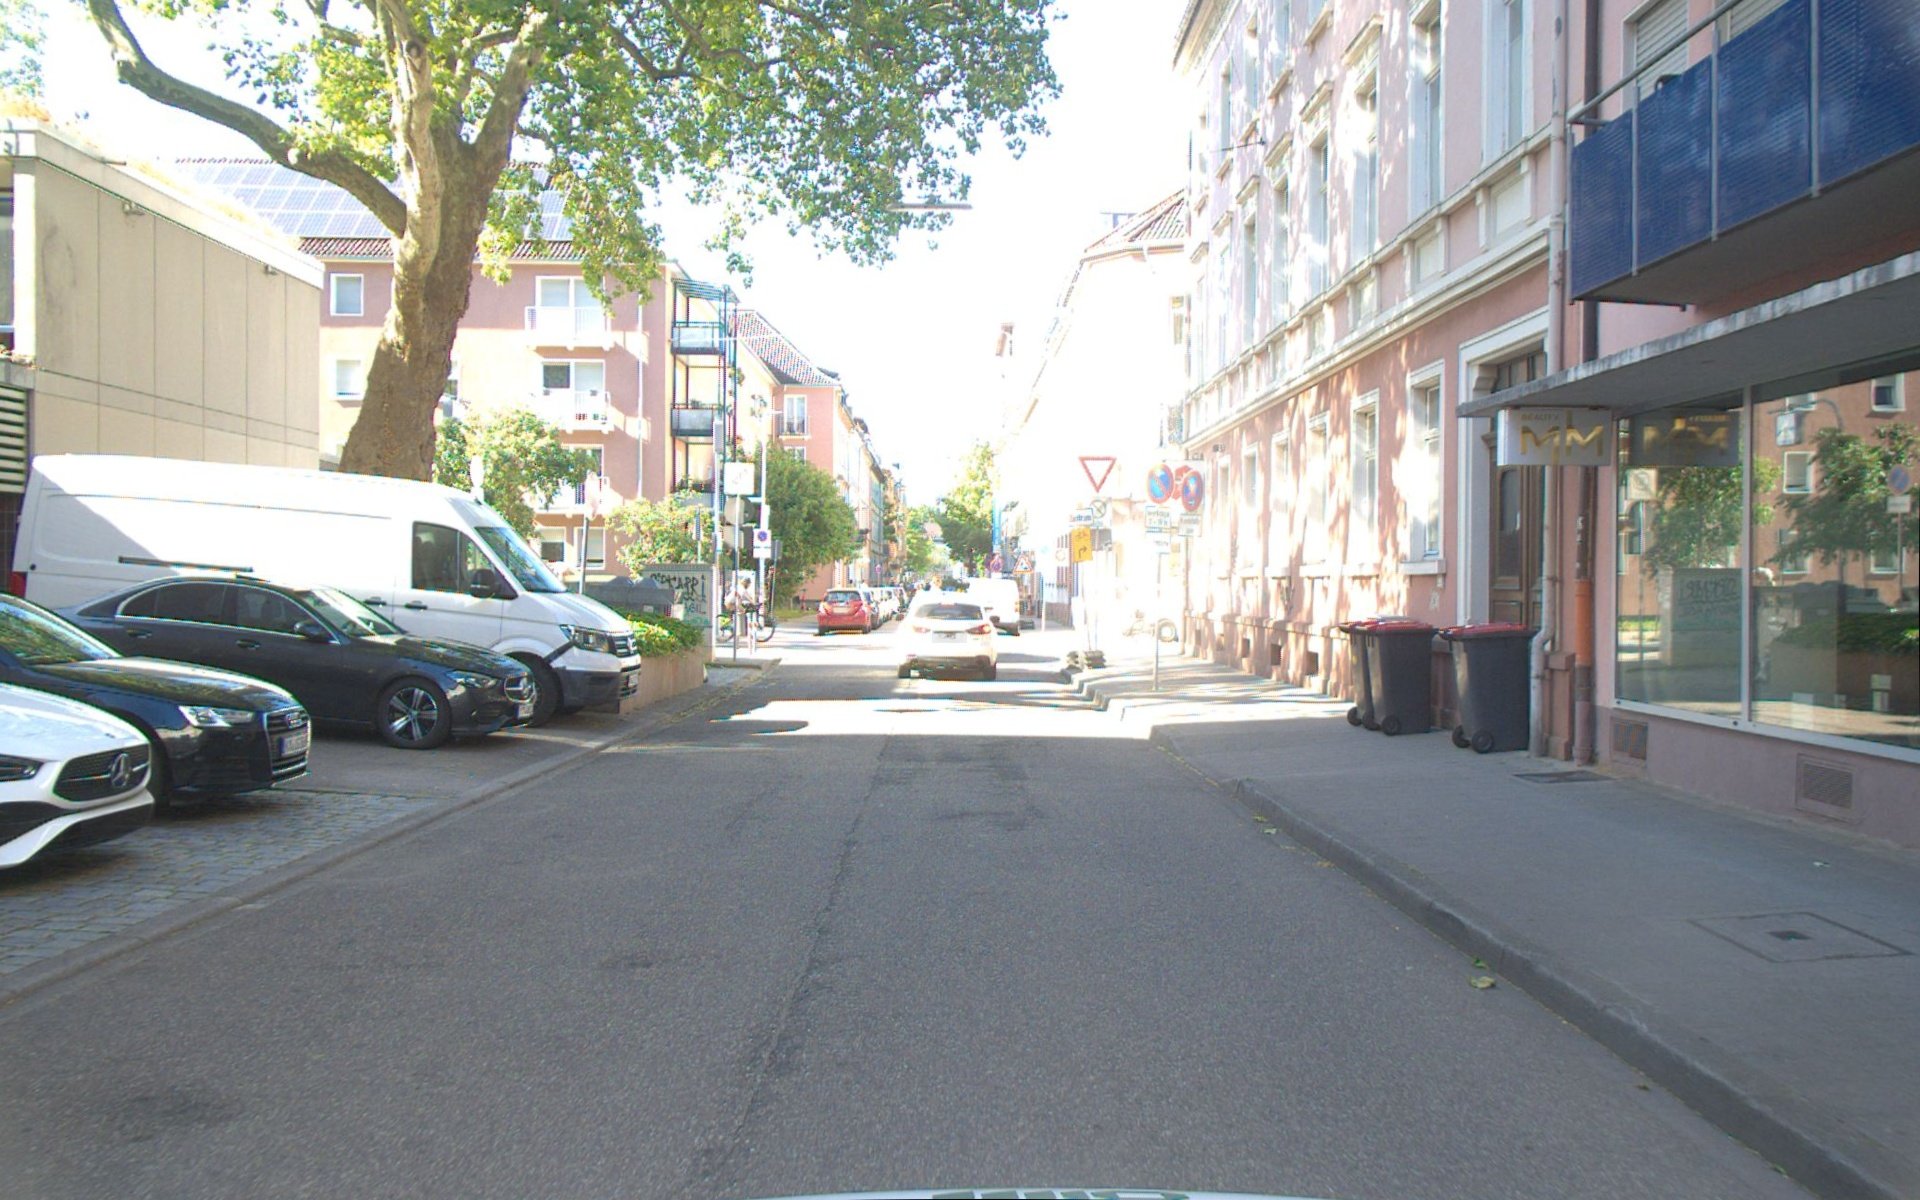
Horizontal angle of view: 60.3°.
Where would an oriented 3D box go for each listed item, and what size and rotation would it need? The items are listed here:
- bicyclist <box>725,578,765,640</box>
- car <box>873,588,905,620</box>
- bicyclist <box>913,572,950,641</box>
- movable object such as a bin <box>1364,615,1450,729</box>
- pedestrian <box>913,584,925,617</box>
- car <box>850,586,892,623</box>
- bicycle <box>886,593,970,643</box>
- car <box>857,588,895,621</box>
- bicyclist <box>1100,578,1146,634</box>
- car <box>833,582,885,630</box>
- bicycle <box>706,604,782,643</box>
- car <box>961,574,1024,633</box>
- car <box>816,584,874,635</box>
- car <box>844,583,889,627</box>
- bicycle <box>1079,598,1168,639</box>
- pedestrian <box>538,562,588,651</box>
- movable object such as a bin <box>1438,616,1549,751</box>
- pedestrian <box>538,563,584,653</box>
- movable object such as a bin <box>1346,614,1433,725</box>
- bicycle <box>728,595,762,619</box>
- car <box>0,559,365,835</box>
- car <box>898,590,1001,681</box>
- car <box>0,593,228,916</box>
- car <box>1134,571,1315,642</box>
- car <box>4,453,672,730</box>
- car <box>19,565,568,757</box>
[{"bbox_3d":[-5.544,0.220,42.690,0.963,1.580,0.761,0,0,-2],"label":"bicyclist"},{"bbox_3d":[-3.732,0.214,87.705,1.540,1.613,3.611,0,0,0],"label":"car"},{"bbox_3d":[-0.725,0.172,42.705,0.905,1.750,0.942,0,0,1],"label":"bicyclist"},{"bbox_3d":[4.371,0.699,16.216,0.687,1.092,0.596,0,0,1],"label":"movable object such as a bin"},{"bbox_3d":[-2.310,0.017,92.980,0.634,1.828,0.639,0,-1,0],"label":"pedestrian"},{"bbox_3d":[-3.924,0.187,73.382,1.685,1.604,3.726,0,0,0],"label":"car"},{"bbox_3d":[-0.809,0.456,42.664,2.118,1.277,0.834,0,0,1],"label":"bicycle"},{"bbox_3d":[-3.926,0.200,77.394,1.569,1.503,3.567,0,0,0],"label":"car"},{"bbox_3d":[4.520,0.173,45.693,1.170,1.543,0.841,0,0,12],"label":"bicyclist"},{"bbox_3d":[-3.687,0.220,61.085,1.685,1.712,3.726,0,0,0],"label":"car"},{"bbox_3d":[-5.559,0.599,42.691,1.889,1.003,0.663,0,0,-4],"label":"bicycle"},{"bbox_3d":[1.119,0.110,58.765,1.904,1.982,4.076,1,0,-3],"label":"car"},{"bbox_3d":[-3.819,0.295,55.485,1.734,1.616,3.725,0,1,-1],"label":"car"},{"bbox_3d":[-3.742,0.204,66.599,1.602,1.685,3.785,0,0,0],"label":"car"},{"bbox_3d":[4.530,0.513,45.705,2.373,1.098,0.791,0,0,13],"label":"bicycle"},{"bbox_3d":[-8.537,0.141,35.571,0.950,1.871,0.679,3,0,-15],"label":"pedestrian"},{"bbox_3d":[4.593,0.704,14.274,0.715,1.123,0.692,0,0,-3],"label":"movable object such as a bin"},{"bbox_3d":[-8.359,0.169,34.658,0.839,1.847,0.812,2,-1,-14],"label":"pedestrian"},{"bbox_3d":[4.366,0.694,16.848,0.730,1.105,0.635,0,0,1],"label":"movable object such as a bin"},{"bbox_3d":[-8.663,0.295,66.709,0.598,0.948,1.893,0,0,-33],"label":"bicycle"},{"bbox_3d":[-6.490,0.554,10.945,4.376,1.638,1.915,2,0,-3],"label":"car"},{"bbox_3d":[-0.219,0.608,30.647,1.787,1.540,3.823,1,0,-1],"label":"car"},{"bbox_3d":[-6.316,0.656,8.417,4.254,1.450,1.957,2,0,-2],"label":"car"},{"bbox_3d":[7.593,0.189,47.525,4.791,1.962,1.999,0,-2,24],"label":"car"},{"bbox_3d":[-6.819,-0.091,18.688,6.601,2.599,2.146,3,0,1],"label":"car"},{"bbox_3d":[-6.247,0.544,15.896,4.408,1.496,1.929,3,0,0],"label":"car"}]
